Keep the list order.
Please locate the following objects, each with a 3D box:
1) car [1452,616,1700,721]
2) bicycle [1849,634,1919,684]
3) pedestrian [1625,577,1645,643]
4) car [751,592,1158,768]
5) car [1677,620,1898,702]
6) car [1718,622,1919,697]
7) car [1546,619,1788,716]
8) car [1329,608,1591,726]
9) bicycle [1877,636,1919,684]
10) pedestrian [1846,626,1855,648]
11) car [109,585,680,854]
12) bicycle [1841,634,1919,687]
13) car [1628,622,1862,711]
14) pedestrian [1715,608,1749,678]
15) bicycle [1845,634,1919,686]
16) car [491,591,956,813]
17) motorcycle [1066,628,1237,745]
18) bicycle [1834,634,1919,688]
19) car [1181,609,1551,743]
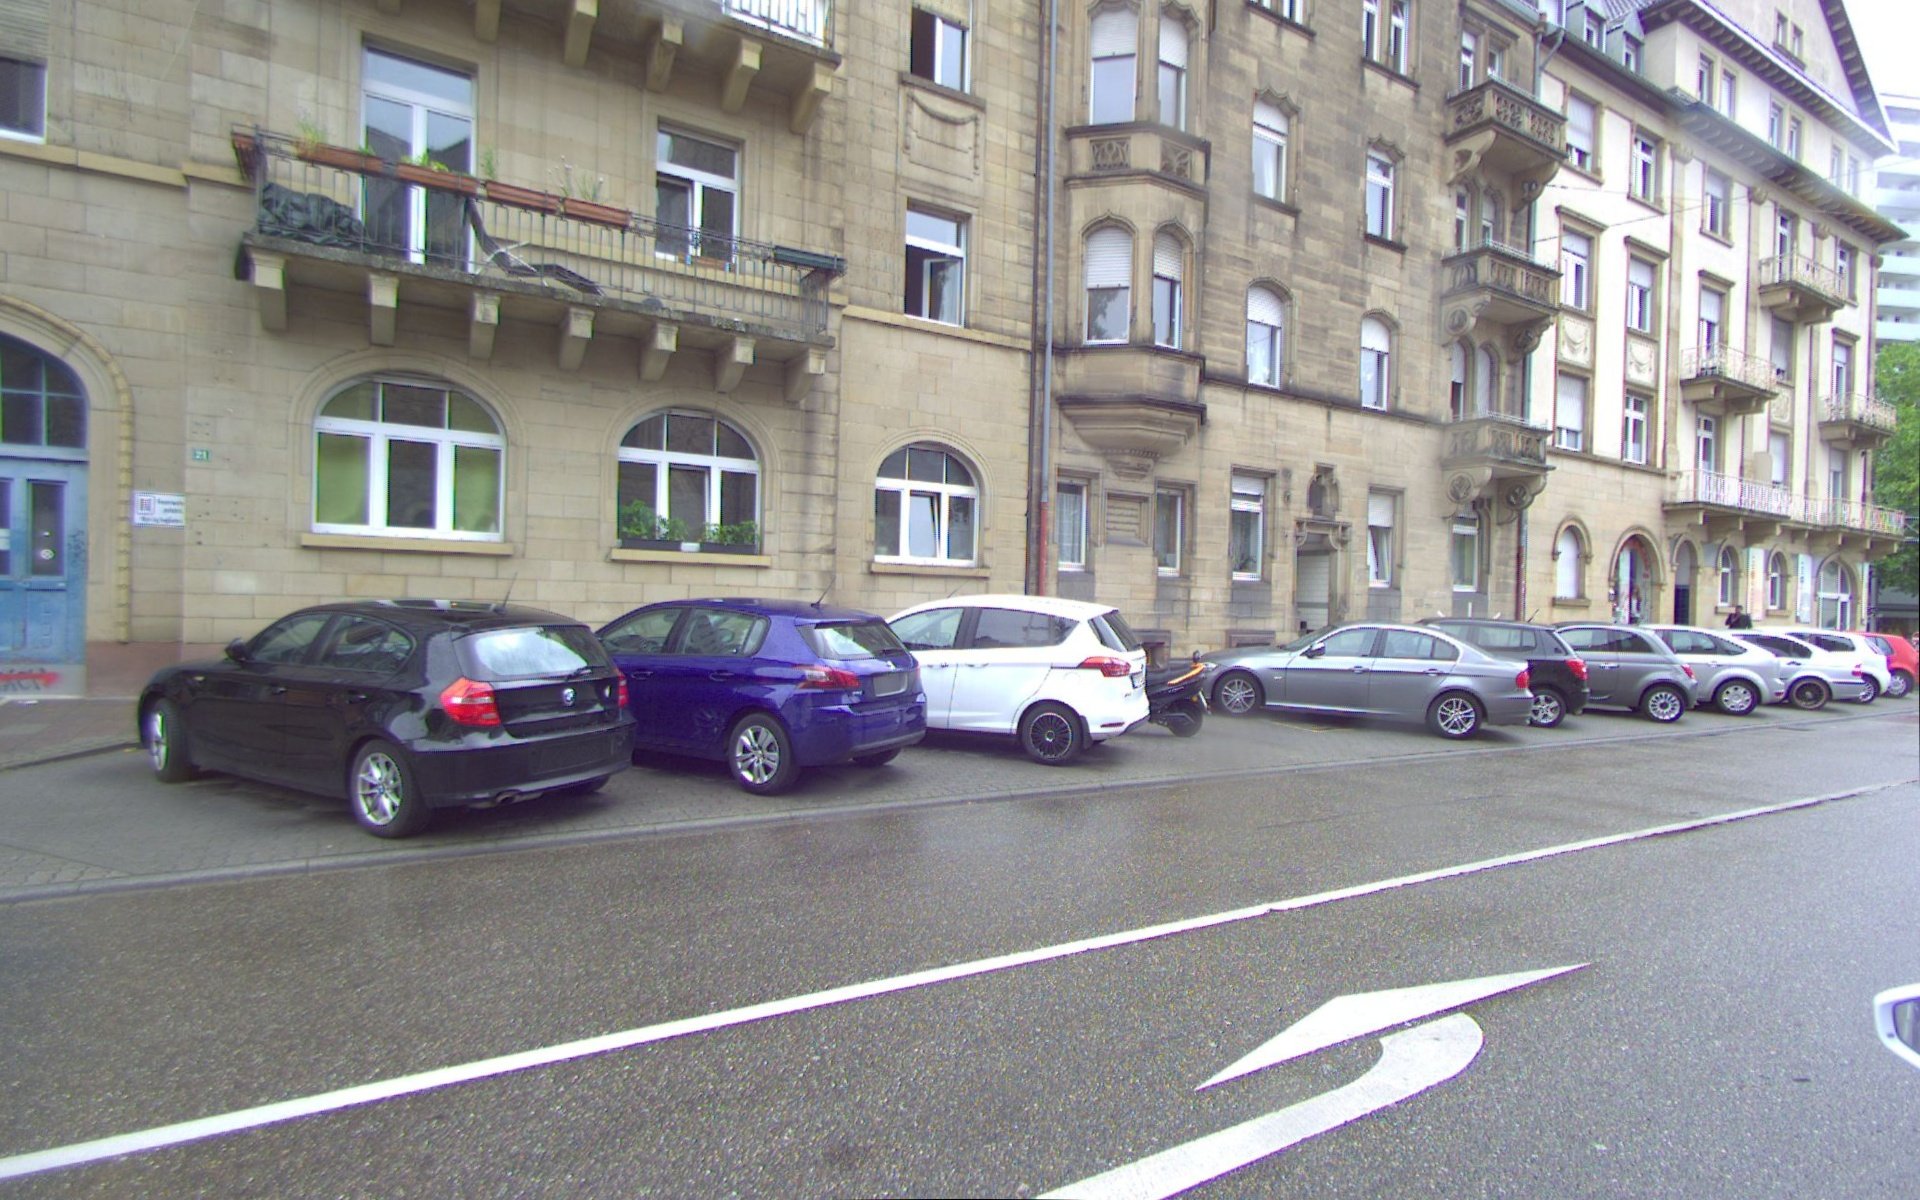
[{"bbox_3d":[10.363,1.097,17.180,3.337,1.578,1.652,1,0,21],"label":"car"},{"bbox_3d":[25.223,1.576,27.099,0.601,1.283,1.754,1,-1,-31],"label":"bicycle"},{"bbox_3d":[19.163,0.292,28.512,0.343,1.846,0.364,2,-1,-32],"label":"pedestrian"},{"bbox_3d":[-0.020,0.750,10.740,3.964,1.576,1.799,1,-1,20],"label":"car"},{"bbox_3d":[17.949,1.274,21.974,3.337,1.578,1.705,1,0,21],"label":"car"},{"bbox_3d":[20.217,1.364,23.723,3.337,1.578,1.705,1,0,21],"label":"car"},{"bbox_3d":[12.962,1.184,18.660,3.337,1.578,1.705,1,0,21],"label":"car"},{"bbox_3d":[7.669,0.976,15.750,3.484,1.619,1.605,1,0,21],"label":"car"},{"bbox_3d":[26.129,1.642,27.254,0.601,1.283,1.754,1,-1,-31],"label":"bicycle"},{"bbox_3d":[61.137,2.539,68.952,0.437,1.550,0.640,1,0,43],"label":"pedestrian"},{"bbox_3d":[-4.238,0.694,7.483,3.969,1.532,1.796,1,-1,27],"label":"car"},{"bbox_3d":[23.954,1.545,25.902,0.492,1.283,1.801,1,-1,-31],"label":"bicycle"},{"bbox_3d":[15.670,1.281,20.259,3.337,1.578,1.705,1,0,21],"label":"car"},{"bbox_3d":[22.746,1.260,29.602,0.647,2.040,0.565,1,0,-30],"label":"pedestrian"},{"bbox_3d":[24.470,1.569,26.362,0.492,1.283,1.801,1,-1,-31],"label":"bicycle"},{"bbox_3d":[-2.197,0.751,9.098,3.972,1.594,1.795,1,-1,31],"label":"car"},{"bbox_3d":[2.259,0.983,11.871,1.837,1.177,0.633,3,1,23],"label":"motorcycle"},{"bbox_3d":[23.498,1.540,25.609,0.516,1.283,1.754,1,-1,-31],"label":"bicycle"},{"bbox_3d":[5.409,0.957,13.877,4.457,1.565,1.689,1,0,17],"label":"car"}]
